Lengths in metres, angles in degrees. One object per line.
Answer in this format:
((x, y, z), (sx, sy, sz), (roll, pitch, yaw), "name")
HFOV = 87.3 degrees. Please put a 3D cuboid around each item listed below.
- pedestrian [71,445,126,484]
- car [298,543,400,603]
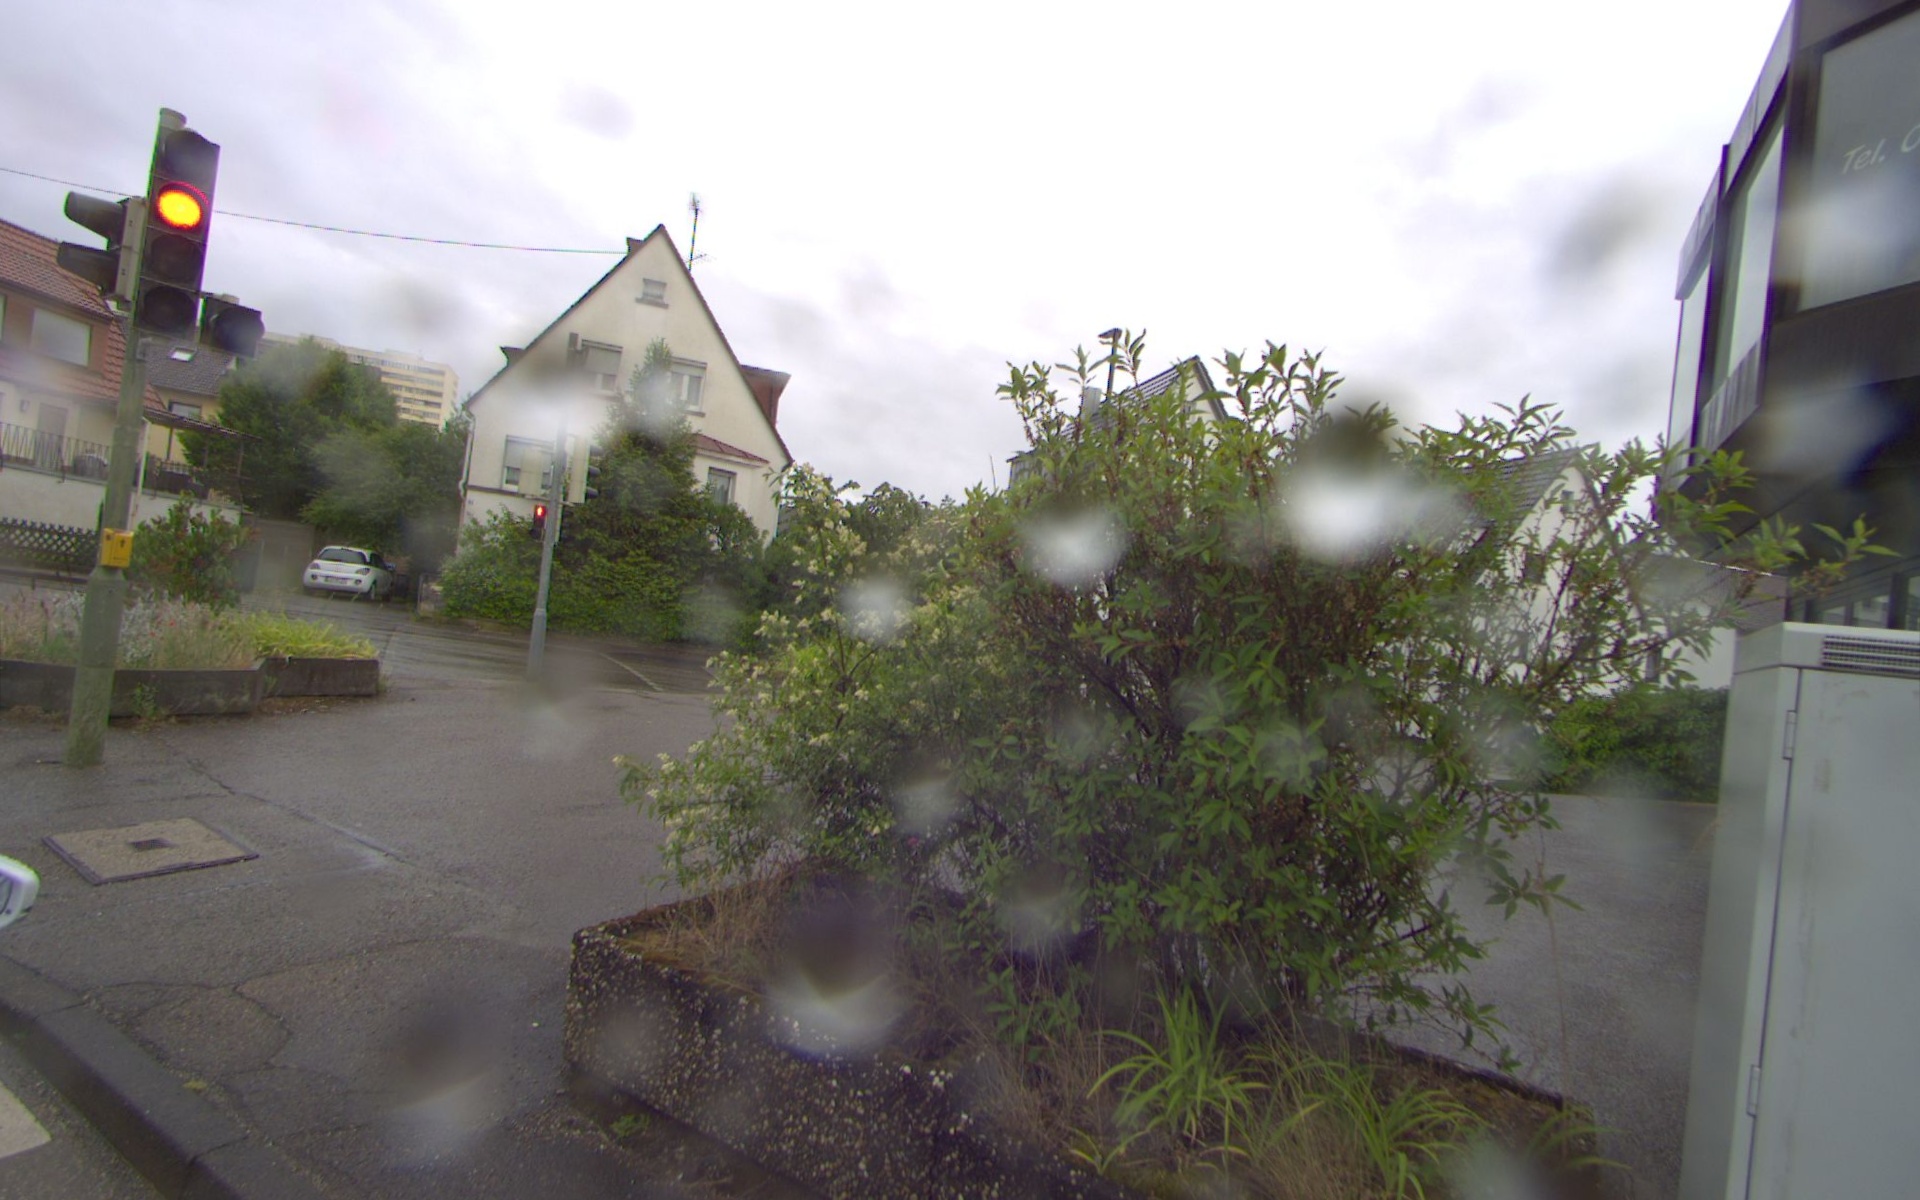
((-24.273, -3.809, 28.366), (0.623, 0.893, 0.920), (5, -2, 13), "pedestrian")
((-17.757, -0.752, 29.416), (1.794, 1.378, 3.981), (8, -2, -22), "car")
